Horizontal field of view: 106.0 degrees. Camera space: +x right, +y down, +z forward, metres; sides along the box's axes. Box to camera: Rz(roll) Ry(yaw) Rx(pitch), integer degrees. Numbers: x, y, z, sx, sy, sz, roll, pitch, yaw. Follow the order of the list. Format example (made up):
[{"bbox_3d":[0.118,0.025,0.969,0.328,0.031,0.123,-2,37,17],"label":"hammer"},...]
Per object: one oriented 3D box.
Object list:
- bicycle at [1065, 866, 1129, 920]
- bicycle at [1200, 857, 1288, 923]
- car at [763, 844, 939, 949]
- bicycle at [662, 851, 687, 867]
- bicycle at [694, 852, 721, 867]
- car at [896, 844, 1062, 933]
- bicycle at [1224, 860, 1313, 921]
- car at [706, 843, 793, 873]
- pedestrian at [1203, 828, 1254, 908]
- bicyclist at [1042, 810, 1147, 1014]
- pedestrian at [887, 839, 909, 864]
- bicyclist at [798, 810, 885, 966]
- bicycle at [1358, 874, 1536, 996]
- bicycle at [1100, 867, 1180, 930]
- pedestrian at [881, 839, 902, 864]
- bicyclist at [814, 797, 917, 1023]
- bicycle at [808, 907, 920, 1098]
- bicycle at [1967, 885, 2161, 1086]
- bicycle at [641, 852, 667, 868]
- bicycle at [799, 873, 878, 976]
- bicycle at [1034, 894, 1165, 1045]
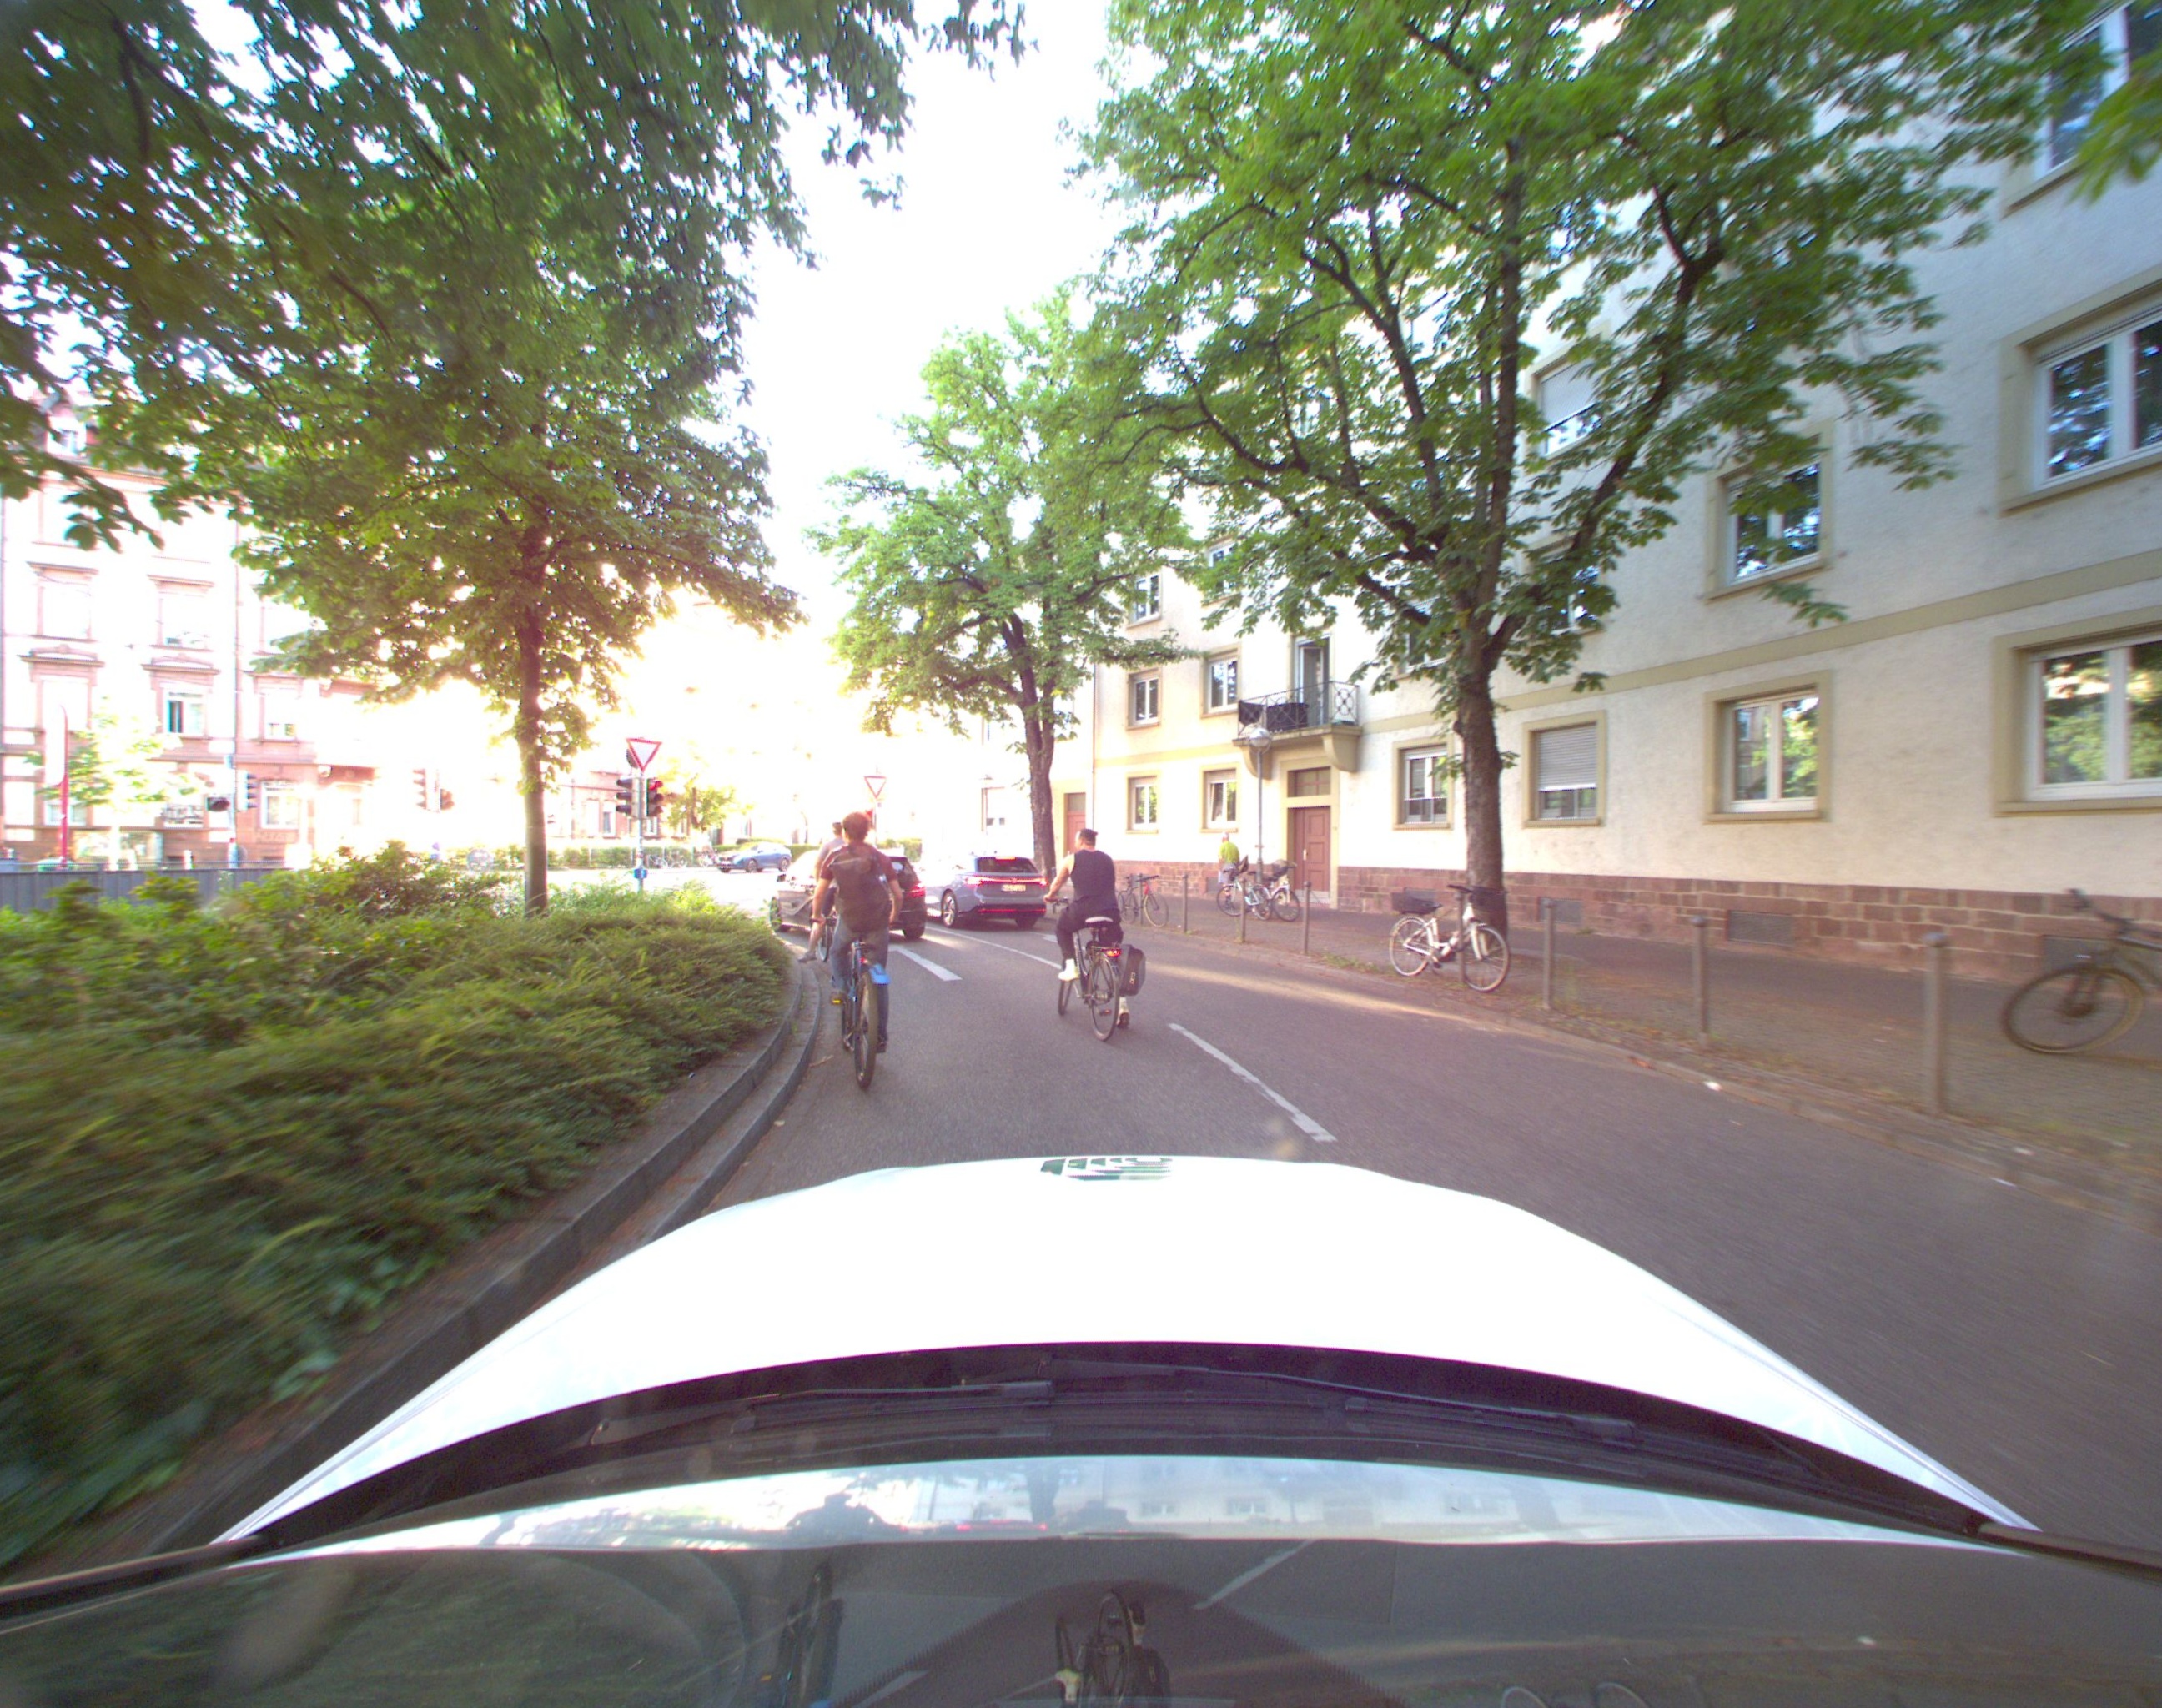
[{"bbox_3d":[0.296,0.787,17.196,0.522,0.999,2.175,0,0,-23],"label":"bicycle"},{"bbox_3d":[3.216,0.675,16.257,0.497,1.172,2.099,-4,2,-26],"label":"bicycle"},{"bbox_3d":[-4.201,0.640,14.473,1.826,1.543,3.917,-2,1,-34],"label":"car"},{"bbox_3d":[-22.945,0.286,45.984,0.444,0.861,1.231,1,0,33],"label":"bicycle"},{"bbox_3d":[-22.160,0.325,48.325,0.444,0.861,1.456,1,0,33],"label":"bicycle"},{"bbox_3d":[-2.224,0.602,16.829,1.904,1.577,3.960,0,1,-32],"label":"car"},{"bbox_3d":[3.754,0.699,16.526,0.585,1.114,2.099,-1,1,-26],"label":"bicycle"},{"bbox_3d":[-17.897,0.188,44.184,1.977,1.496,4.396,1,0,19],"label":"car"},{"bbox_3d":[3.422,0.309,18.877,1.003,1.795,0.652,-2,1,-41],"label":"pedestrian"},{"bbox_3d":[0.095,0.472,7.222,0.752,1.682,0.910,0,0,-11],"label":"bicyclist"},{"bbox_3d":[-14.418,-0.192,64.232,1.150,1.962,1.392,1,0,14],"label":"pedestrian"},{"bbox_3d":[-3.136,0.410,10.611,0.856,1.898,1.129,0,1,-30],"label":"bicyclist"},{"bbox_3d":[4.020,0.834,9.144,0.618,1.112,1.979,-3,2,-19],"label":"bicycle"},{"bbox_3d":[1.104,0.827,15.831,0.619,1.058,1.911,-2,1,-28],"label":"bicycle"},{"bbox_3d":[-15.187,-0.232,65.279,1.150,1.962,1.392,1,0,14],"label":"pedestrian"},{"bbox_3d":[-1.628,0.374,6.065,0.673,1.514,1.062,0,0,-18],"label":"bicyclist"},{"bbox_3d":[-1.635,0.979,6.083,0.675,1.054,2.050,0,-1,-16],"label":"bicycle"},{"bbox_3d":[6.903,0.809,5.022,0.675,1.182,1.805,-2,0,-28],"label":"bicycle"},{"bbox_3d":[-23.545,0.322,44.927,0.444,0.861,1.231,1,0,33],"label":"bicycle"},{"bbox_3d":[-3.236,0.865,10.729,0.601,1.161,2.023,1,0,-28],"label":"bicycle"},{"bbox_3d":[0.087,0.932,7.279,0.738,1.012,2.053,0,1,-11],"label":"bicycle"}]
